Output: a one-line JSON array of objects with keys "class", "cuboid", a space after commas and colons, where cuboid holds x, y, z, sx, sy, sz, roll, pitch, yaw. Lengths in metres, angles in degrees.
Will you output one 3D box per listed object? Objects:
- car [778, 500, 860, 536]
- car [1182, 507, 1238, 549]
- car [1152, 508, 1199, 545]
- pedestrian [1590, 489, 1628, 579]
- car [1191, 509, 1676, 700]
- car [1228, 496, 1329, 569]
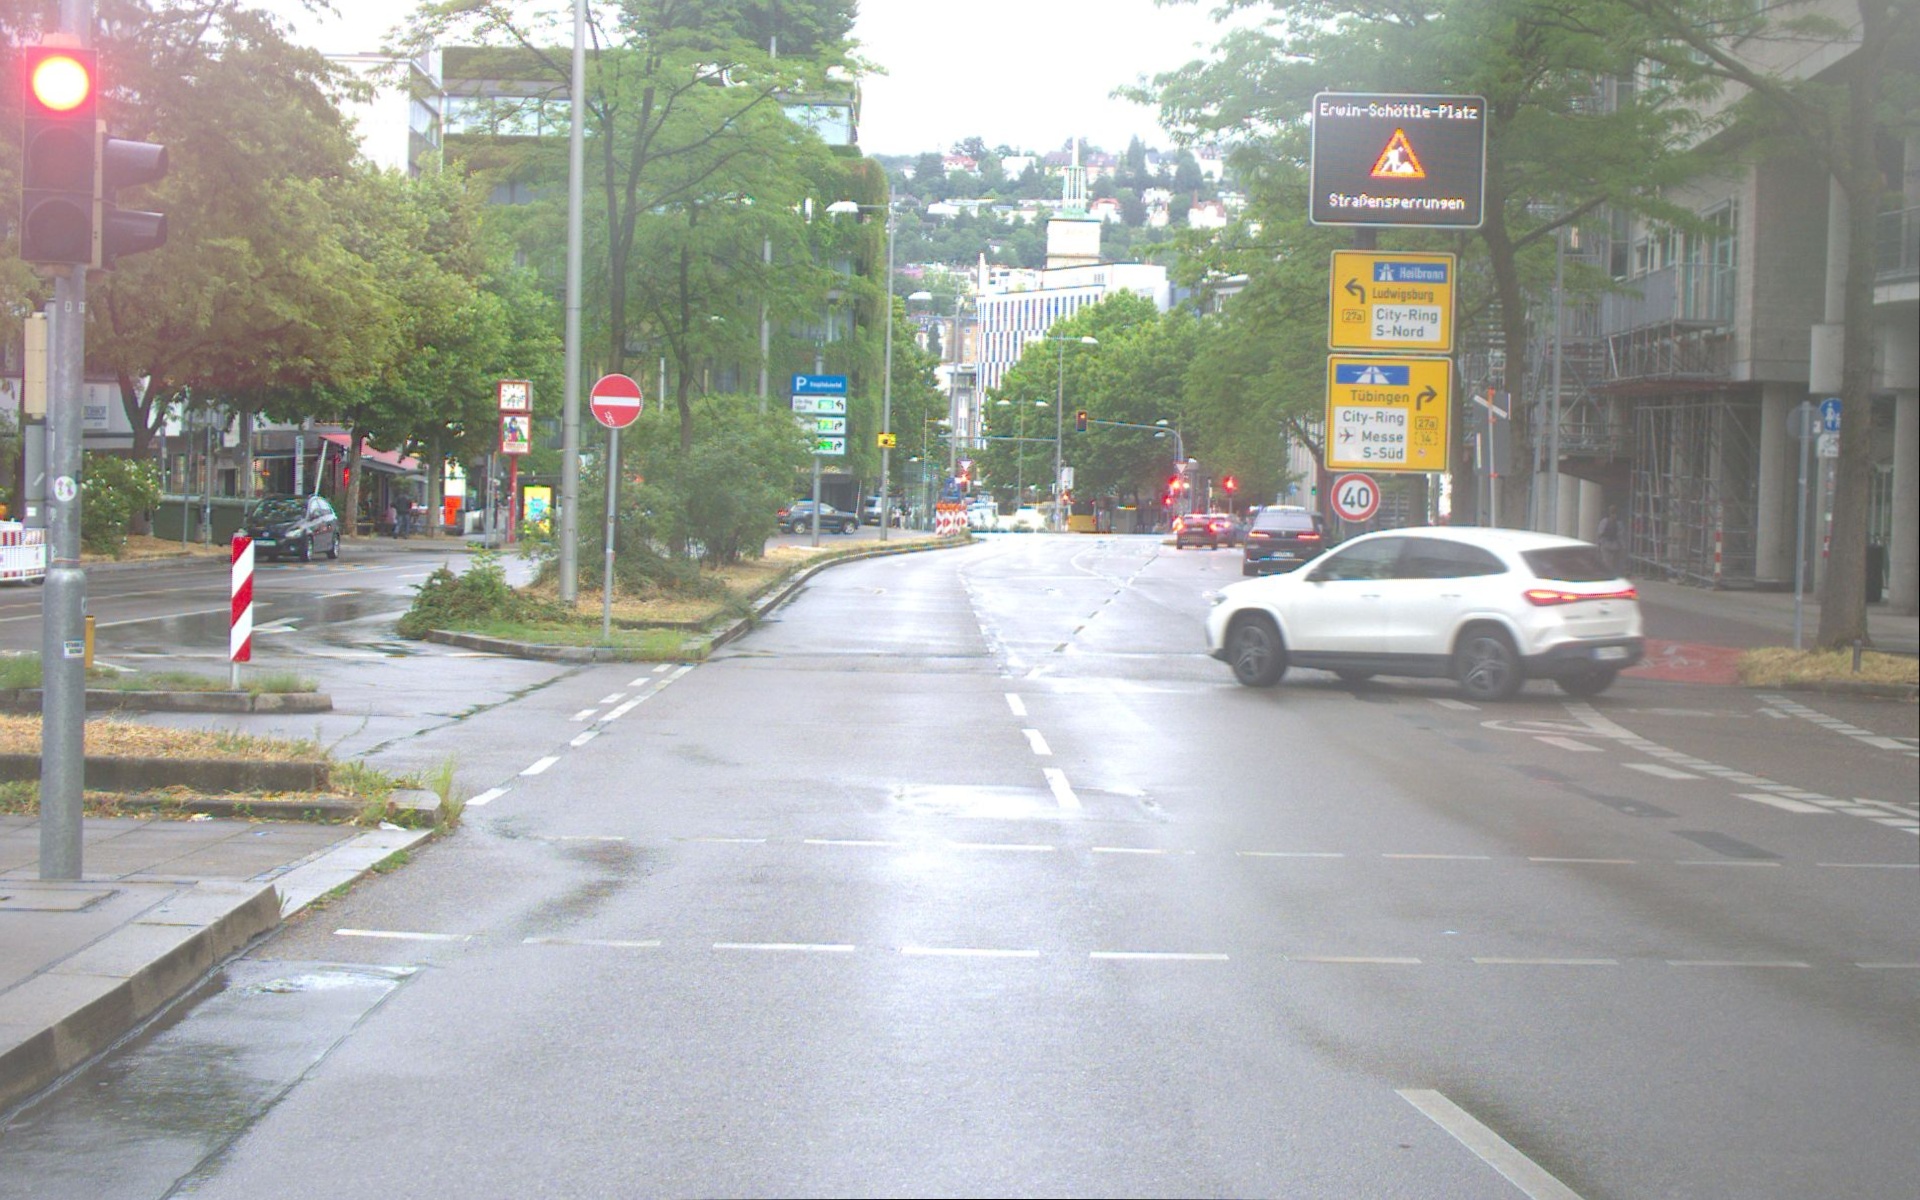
[{"class": "car", "cuboid": [-7.629, -4.443, 185.928, 3.986, 1.752, 2.001, 2, 1, -20]}, {"class": "car", "cuboid": [10.848, -3.119, 149.421, 1.993, 1.718, 4.000, 1, 0, -1]}, {"class": "car", "cuboid": [10.437, -3.559, 166.805, 1.993, 1.730, 4.000, 1, 0, -1]}, {"class": "pedestrian", "cuboid": [14.048, -1.428, 74.444, 0.775, 1.914, 0.702, 1, 0, 10]}, {"class": "car", "cuboid": [4.554, 0.015, 33.409, 4.297, 1.634, 1.830, 3, 1, 40]}, {"class": "car", "cuboid": [7.749, -1.646, 83.429, 2.339, 1.685, 3.999, 1, 2, 6]}]
